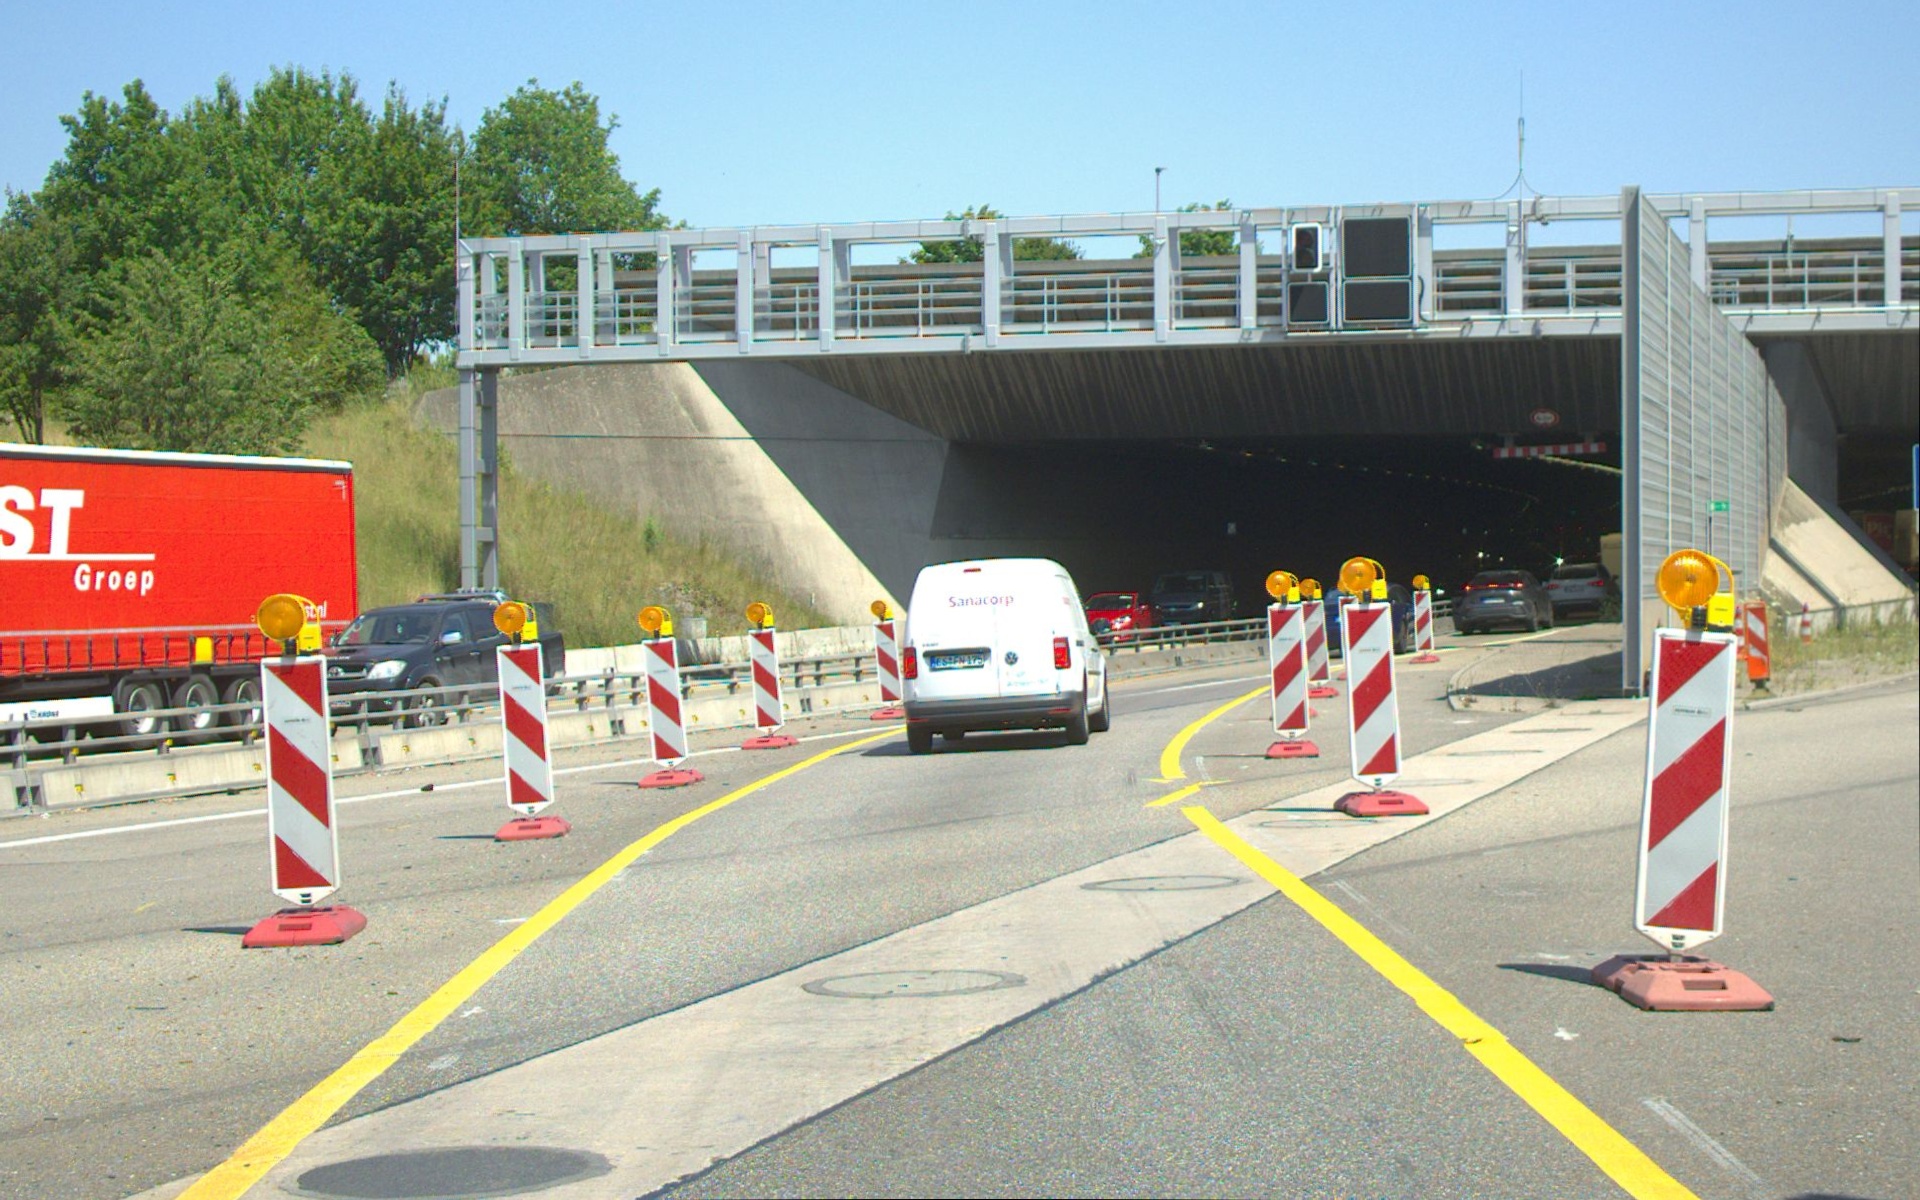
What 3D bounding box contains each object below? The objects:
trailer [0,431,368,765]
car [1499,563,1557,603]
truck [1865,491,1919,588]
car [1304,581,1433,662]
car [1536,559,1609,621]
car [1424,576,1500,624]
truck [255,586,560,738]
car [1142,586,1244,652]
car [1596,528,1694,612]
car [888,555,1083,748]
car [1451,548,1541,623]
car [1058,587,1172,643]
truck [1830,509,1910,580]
[{"bbox_3d":[-12.042,-0.014,44.691,2.340,4.088,13.248,-1,0,19],"label":"trailer"},{"bbox_3d":[24.946,-0.749,150.831,1.775,1.588,4.982,-3,0,17],"label":"car"},{"bbox_3d":[48.760,-2.983,175.566,3.403,4.320,16.528,2,-1,10],"label":"truck"},{"bbox_3d":[8.149,0.410,68.328,1.810,1.532,4.406,-1,0,16],"label":"car"},{"bbox_3d":[17.927,-0.279,100.548,1.809,1.745,4.407,-1,0,14],"label":"car"},{"bbox_3d":[18.188,-0.012,124.388,1.744,1.588,4.223,-3,0,21],"label":"car"},{"bbox_3d":[-7.374,0.795,46.410,1.995,1.867,4.757,-1,1,20],"label":"truck"},{"bbox_3d":[6.932,0.554,102.002,1.689,1.828,4.783,-3,-1,20],"label":"car"},{"bbox_3d":[23.694,-0.992,118.697,2.815,2.764,7.096,-1,-1,15],"label":"car"},{"bbox_3d":[0.270,0.487,34.108,1.808,1.788,3.731,-1,0,1],"label":"car"},{"bbox_3d":[13.411,-0.360,85.879,1.809,1.809,4.407,-1,0,14],"label":"car"},{"bbox_3d":[4.132,0.384,91.111,1.689,1.390,3.995,-3,-1,23],"label":"car"},{"bbox_3d":[56.957,-3.405,215.575,3.403,4.057,16.529,1,0,10],"label":"truck"}]
